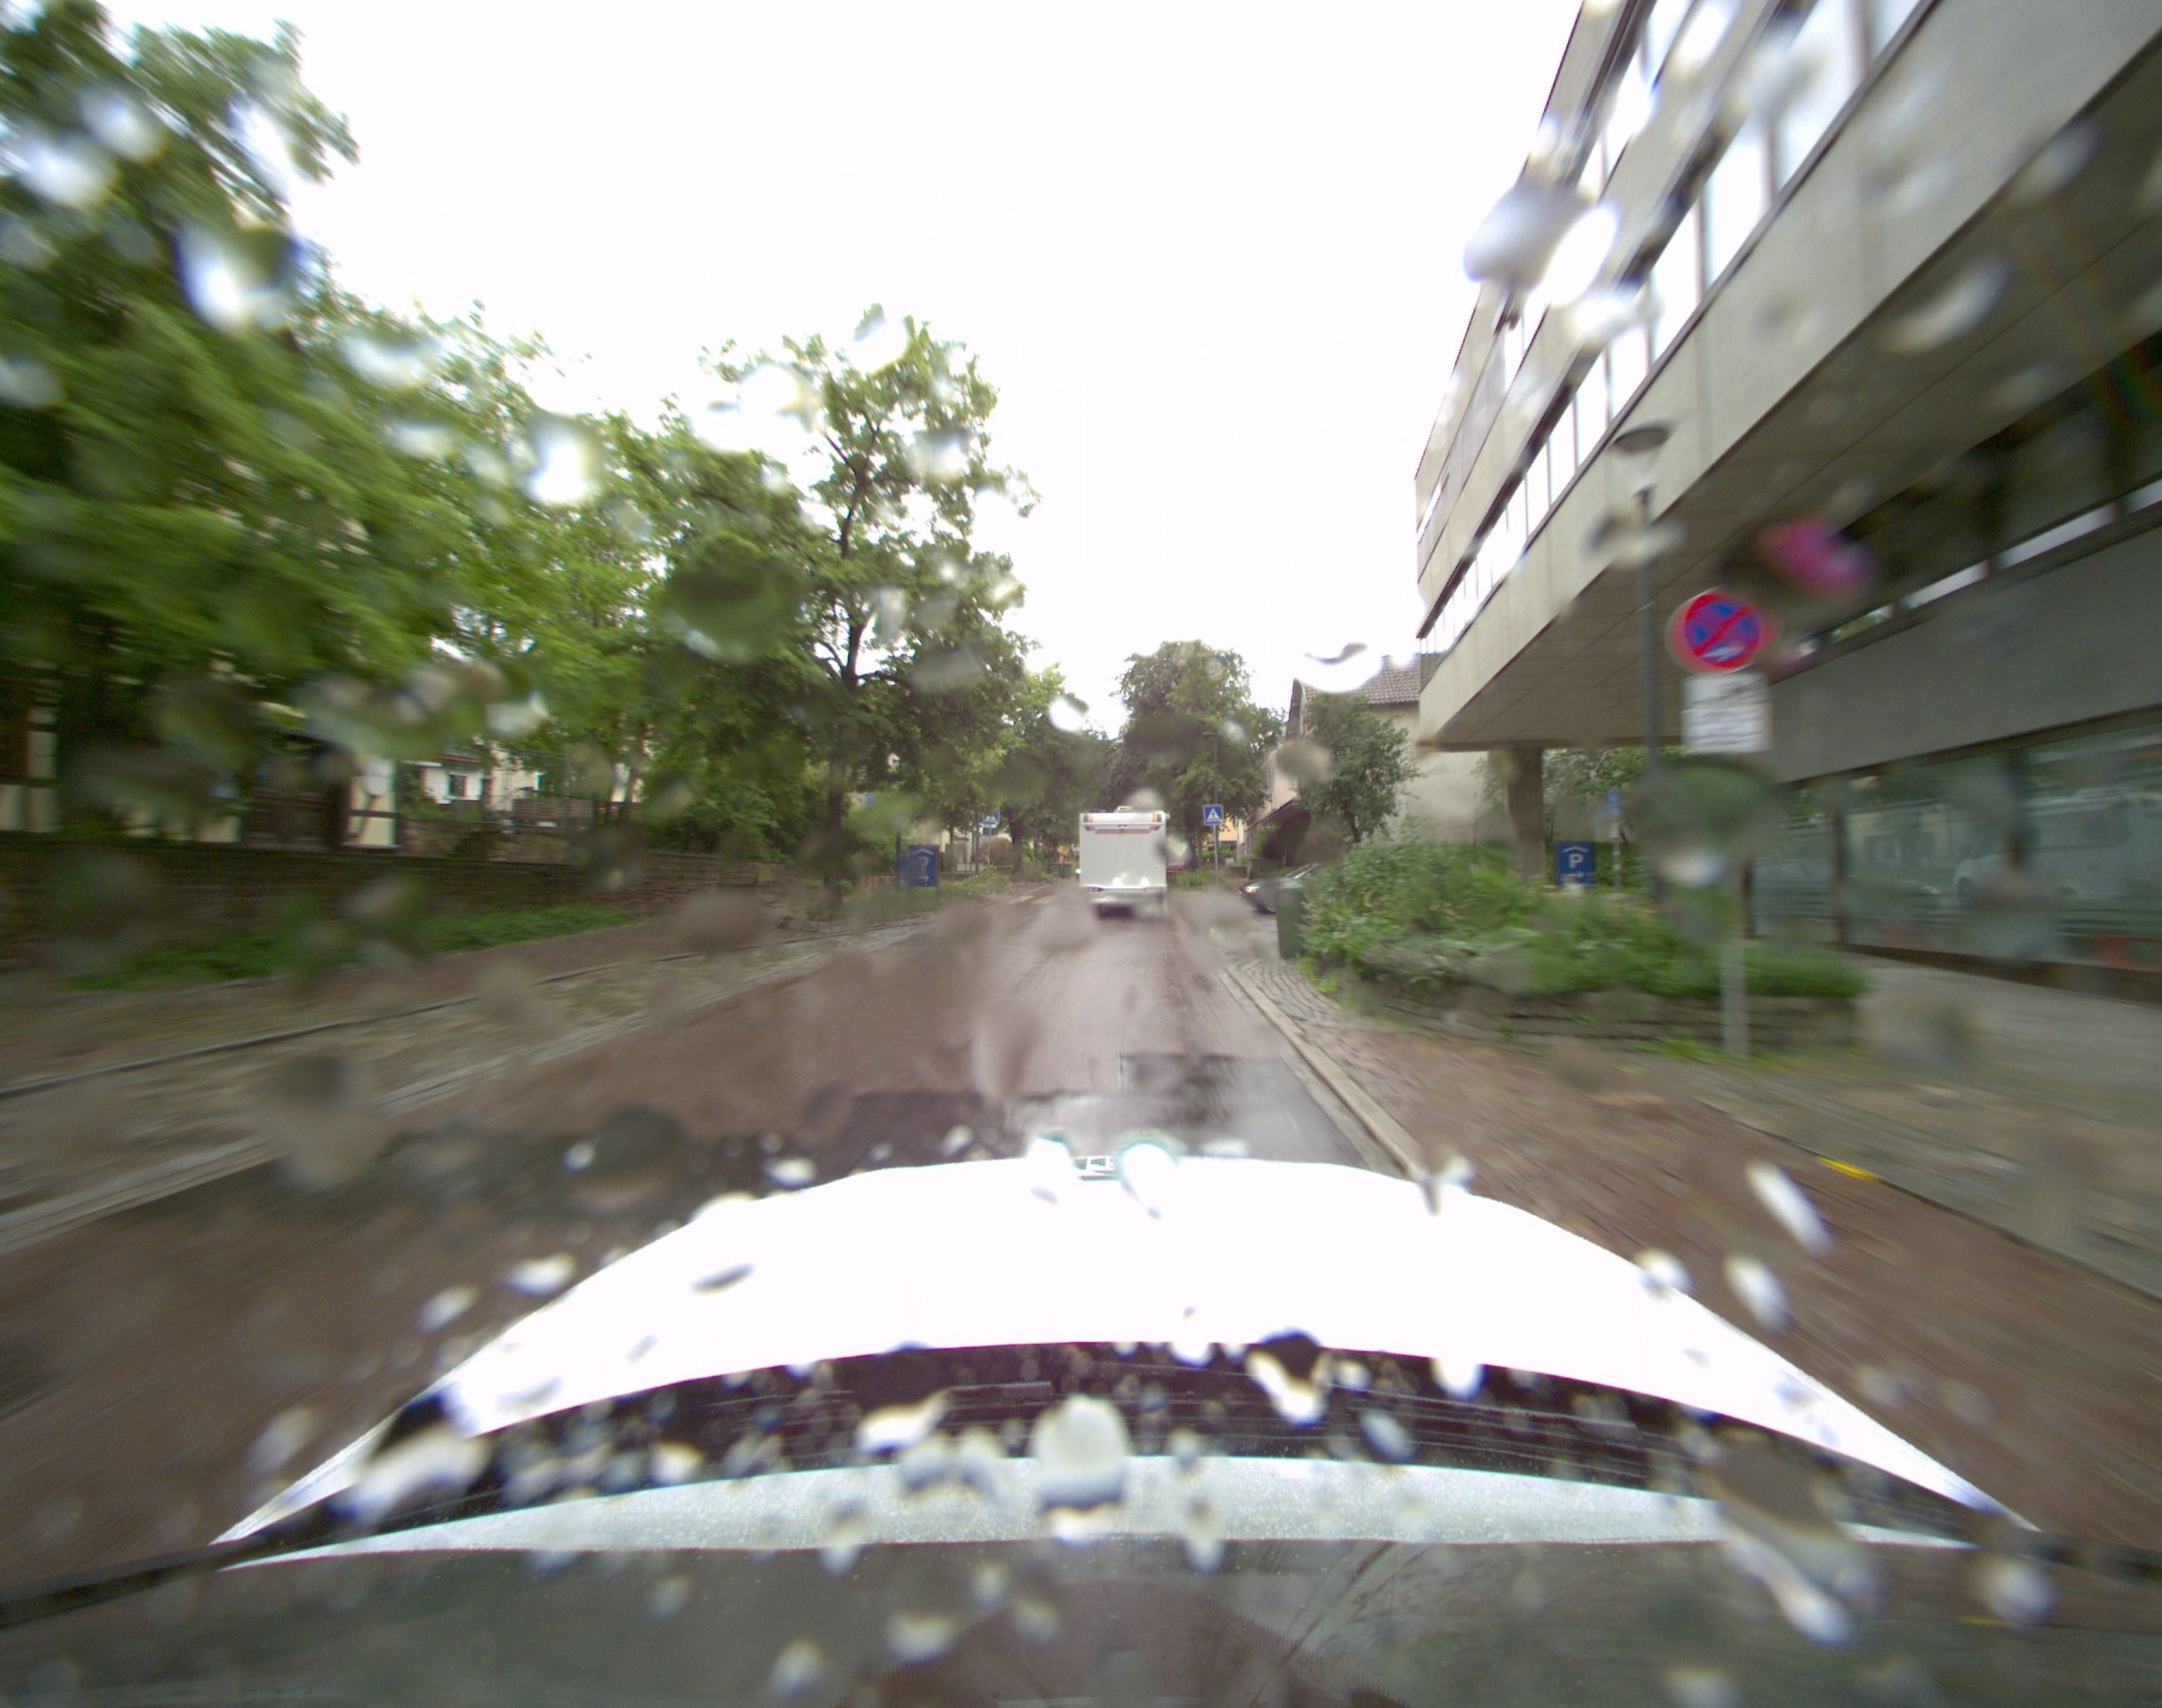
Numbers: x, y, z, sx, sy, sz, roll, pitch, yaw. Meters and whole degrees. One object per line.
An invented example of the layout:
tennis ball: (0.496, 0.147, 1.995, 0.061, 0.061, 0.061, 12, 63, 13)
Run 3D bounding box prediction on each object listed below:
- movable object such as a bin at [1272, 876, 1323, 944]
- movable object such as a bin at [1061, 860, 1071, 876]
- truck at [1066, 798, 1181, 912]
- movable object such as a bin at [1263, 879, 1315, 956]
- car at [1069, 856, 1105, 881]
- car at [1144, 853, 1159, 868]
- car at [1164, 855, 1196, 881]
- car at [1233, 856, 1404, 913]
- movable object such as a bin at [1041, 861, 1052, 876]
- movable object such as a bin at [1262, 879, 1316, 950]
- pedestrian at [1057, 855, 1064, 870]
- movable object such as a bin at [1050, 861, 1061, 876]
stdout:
movable object such as a bin: (3.667, 0.936, 13.804, 0.697, 1.111, 0.575, -2, -2, 29)
movable object such as a bin: (-1.044, 1.005, 57.158, 0.667, 1.095, 0.818, 0, -1, 3)
truck: (1.240, 0.089, 23.243, 2.794, 2.797, 6.112, -1, -1, 3)
movable object such as a bin: (3.182, 0.955, 12.431, 0.698, 1.124, 0.574, -1, -2, 19)
car: (0.445, 0.881, 50.333, 1.847, 1.385, 4.414, 2, 0, 5)
car: (7.799, 0.720, 90.082, 1.641, 1.542, 3.534, -1, -1, 4)
car: (6.054, 0.841, 49.848, 1.845, 1.472, 4.373, 1, 0, 7)
car: (6.492, 0.815, 22.636, 4.265, 1.416, 1.841, 1, 0, 2)
movable object such as a bin: (-2.446, 1.031, 57.991, 0.667, 1.105, 0.818, 0, -1, 3)
movable object such as a bin: (3.362, 0.960, 13.138, 0.697, 1.107, 0.575, -2, -2, 30)
pedestrian: (-2.531, 1.008, 101.045, 0.813, 1.844, 0.770, 0, -2, 3)
movable object such as a bin: (-1.775, 1.018, 57.355, 0.667, 1.105, 0.818, 0, -1, 3)
